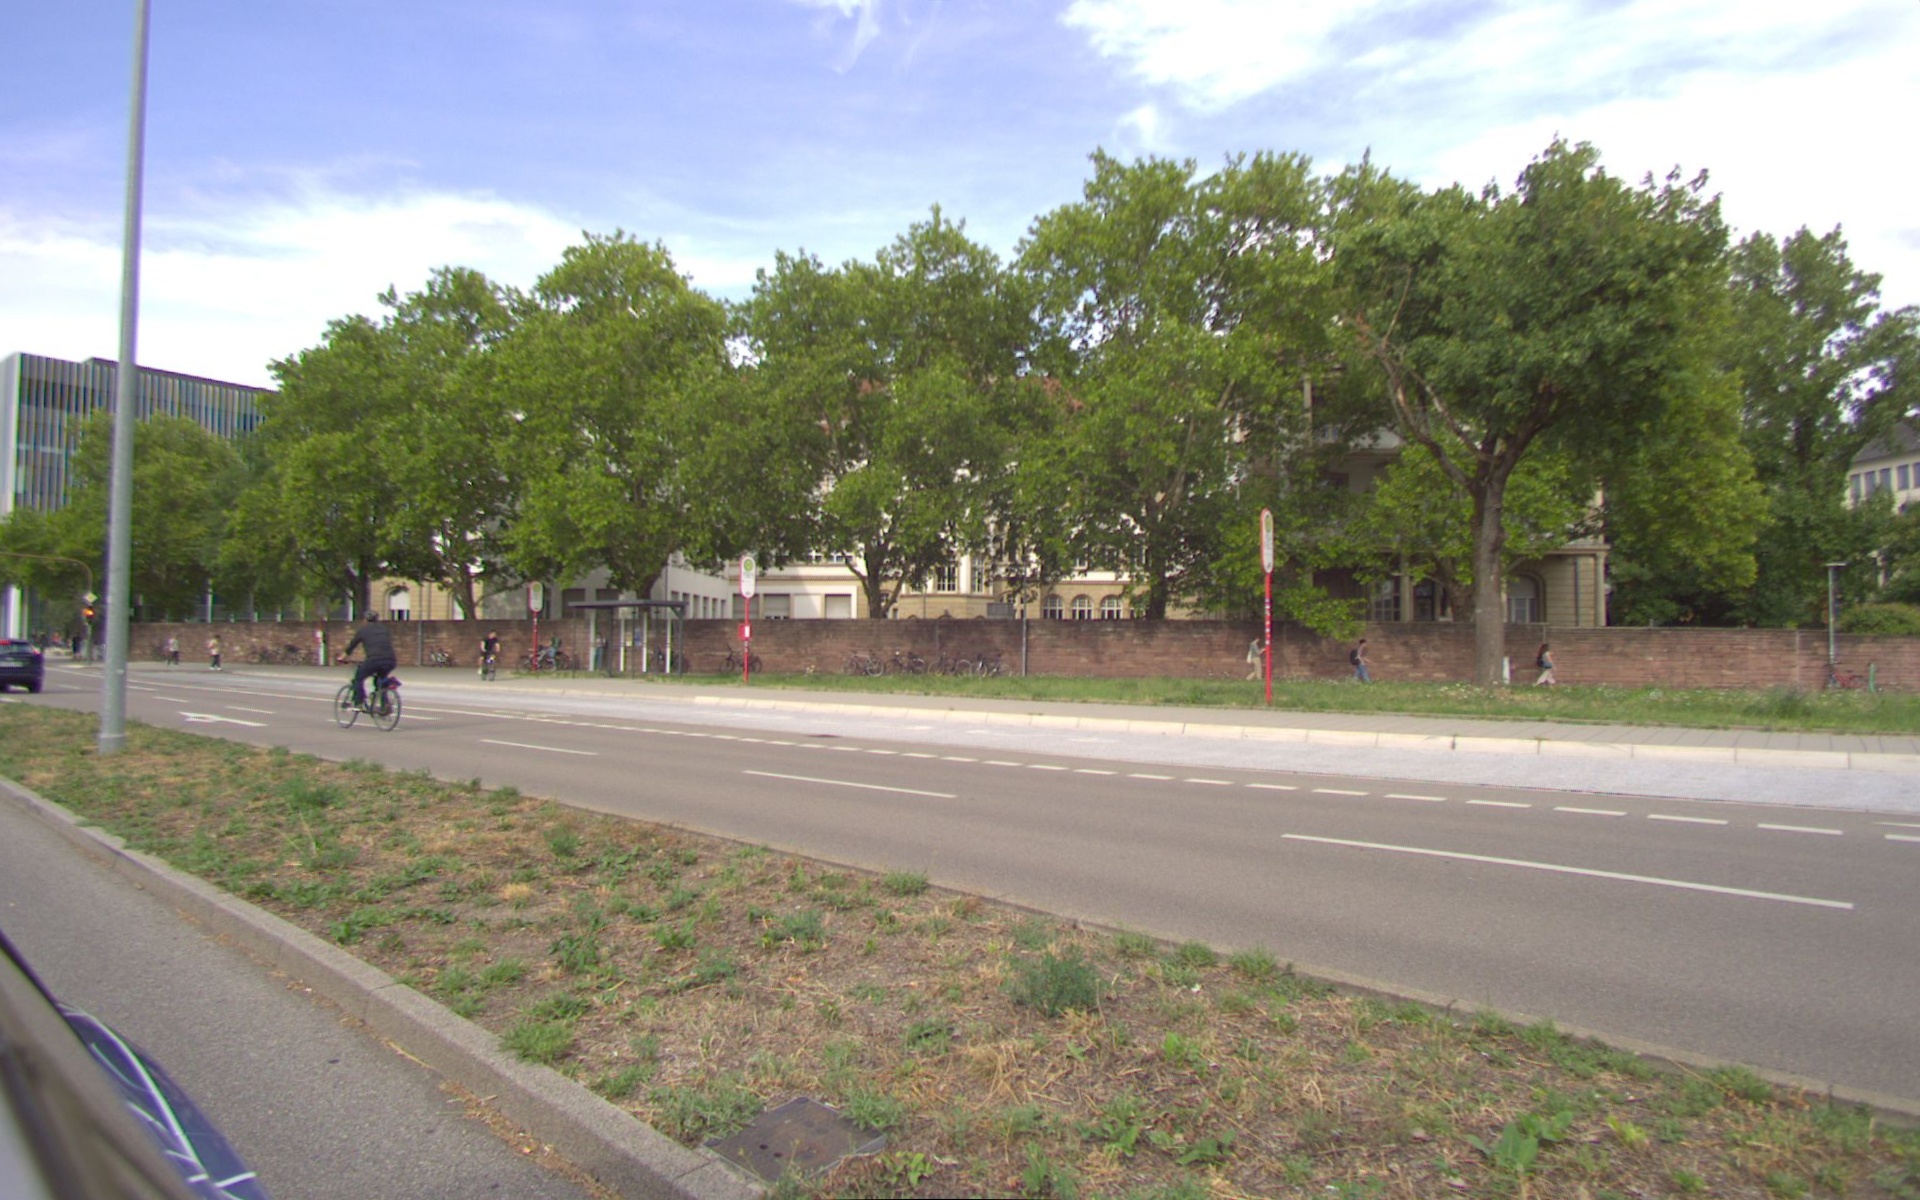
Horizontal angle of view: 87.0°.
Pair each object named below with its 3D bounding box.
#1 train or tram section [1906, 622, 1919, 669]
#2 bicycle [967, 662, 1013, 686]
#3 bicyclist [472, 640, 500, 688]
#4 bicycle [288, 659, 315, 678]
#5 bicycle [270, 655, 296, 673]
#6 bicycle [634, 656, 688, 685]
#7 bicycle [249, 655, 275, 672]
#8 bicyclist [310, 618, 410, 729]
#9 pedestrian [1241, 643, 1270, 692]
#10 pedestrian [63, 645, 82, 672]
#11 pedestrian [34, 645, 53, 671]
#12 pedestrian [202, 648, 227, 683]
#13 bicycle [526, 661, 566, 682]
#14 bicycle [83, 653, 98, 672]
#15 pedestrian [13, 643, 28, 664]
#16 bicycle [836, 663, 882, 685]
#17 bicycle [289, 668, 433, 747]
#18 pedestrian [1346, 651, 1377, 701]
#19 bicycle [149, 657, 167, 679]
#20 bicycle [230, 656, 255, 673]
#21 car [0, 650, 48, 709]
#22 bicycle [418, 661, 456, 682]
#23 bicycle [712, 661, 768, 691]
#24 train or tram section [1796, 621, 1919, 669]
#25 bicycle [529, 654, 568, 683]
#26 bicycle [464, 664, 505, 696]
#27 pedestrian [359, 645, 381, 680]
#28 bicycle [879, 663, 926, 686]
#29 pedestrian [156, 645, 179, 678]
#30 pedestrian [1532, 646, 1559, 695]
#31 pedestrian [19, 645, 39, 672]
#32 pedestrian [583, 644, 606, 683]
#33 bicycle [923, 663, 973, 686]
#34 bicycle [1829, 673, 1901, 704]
[{"bbox_3d":[67.671,3.038,66.053,3.020,3.237,9.427,-1,-1,1],"label":"train or tram section"},{"bbox_3d":[1.132,2.813,38.399,1.692,0.871,0.357,-1,-5,14],"label":"bicycle"},{"bbox_3d":[-15.869,2.126,33.890,0.798,1.567,0.572,0,-2,43],"label":"bicyclist"},{"bbox_3d":[-33.323,3.451,51.207,1.569,0.894,0.429,-2,0,28],"label":"bicycle"},{"bbox_3d":[-35.057,3.291,52.382,1.569,0.894,0.429,-2,0,28],"label":"bicycle"},{"bbox_3d":[-12.444,2.933,42.090,2.081,1.198,0.754,-1,-5,18],"label":"bicycle"},{"bbox_3d":[-36.629,3.322,53.087,1.569,0.894,0.429,-2,0,28],"label":"bicycle"},{"bbox_3d":[-9.627,1.177,16.259,1.076,1.724,0.774,-1,-5,17],"label":"bicyclist"},{"bbox_3d":[10.255,2.344,35.142,0.769,1.667,0.579,0,-1,-15],"label":"pedestrian"},{"bbox_3d":[-55.827,3.678,63.625,0.664,1.634,0.746,-1,-1,33],"label":"pedestrian"},{"bbox_3d":[-58.044,3.662,64.070,0.664,1.634,0.746,-1,-1,33],"label":"pedestrian"},{"bbox_3d":[-35.332,3.085,47.958,0.664,1.634,0.746,-1,-1,33],"label":"pedestrian"},{"bbox_3d":[-18.072,3.120,44.142,1.564,0.894,0.657,-2,0,20],"label":"bicycle"},{"bbox_3d":[-56.225,4.027,65.423,1.394,1.218,0.506,-2,-1,39],"label":"bicycle"},{"bbox_3d":[-73.887,4.178,79.585,0.664,1.634,0.746,-1,-1,33],"label":"pedestrian"},{"bbox_3d":[-3.962,2.892,39.614,1.806,0.871,0.357,-1,-5,16],"label":"bicycle"},{"bbox_3d":[-9.590,1.707,16.215,2.081,1.198,0.754,-1,-5,18],"label":"bicycle"},{"bbox_3d":[13.821,2.613,34.846,0.768,1.667,0.579,0,-1,-21],"label":"pedestrian"},{"bbox_3d":[-46.889,3.981,59.157,1.394,1.218,0.506,-2,-1,39],"label":"bicycle"},{"bbox_3d":[-38.272,3.450,53.974,1.569,0.894,0.429,-2,0,28],"label":"bicycle"},{"bbox_3d":[-26.543,2.133,27.606,4.125,1.501,1.766,-1,-5,39],"label":"car"},{"bbox_3d":[-24.146,3.288,46.690,1.564,0.894,0.657,-2,0,20],"label":"bicycle"},{"bbox_3d":[-8.871,3.071,40.784,2.081,1.198,0.754,-1,-5,18],"label":"bicycle"},{"bbox_3d":[67.753,3.225,75.432,3.020,3.302,9.367,-1,-1,1],"label":"train or tram section"},{"bbox_3d":[-17.320,2.899,42.648,0.748,1.198,2.098,1,-5,-1],"label":"bicycle"},{"bbox_3d":[-15.936,2.667,33.911,1.971,0.943,0.499,0,-1,42],"label":"bicycle"},{"bbox_3d":[-28.229,2.976,48.417,0.656,1.634,0.755,-1,-1,-2],"label":"pedestrian"},{"bbox_3d":[-2.216,2.863,39.069,1.795,0.871,0.356,-1,-5,19],"label":"bicycle"},{"bbox_3d":[-40.649,3.164,51.903,0.664,1.634,0.746,-1,-1,33],"label":"pedestrian"},{"bbox_3d":[20.438,2.452,35.348,0.622,1.667,0.531,-1,-1,5],"label":"pedestrian"},{"bbox_3d":[-58.145,3.648,63.200,0.664,1.634,0.746,-1,-1,33],"label":"pedestrian"},{"bbox_3d":[-15.573,2.704,43.108,0.748,1.634,0.565,-1,-1,17],"label":"pedestrian"},{"bbox_3d":[-0.460,2.832,38.434,1.877,0.871,0.356,-1,-5,21],"label":"bicycle"},{"bbox_3d":[31.727,3.101,35.504,1.896,1.012,0.780,-1,-1,-6],"label":"bicycle"}]
